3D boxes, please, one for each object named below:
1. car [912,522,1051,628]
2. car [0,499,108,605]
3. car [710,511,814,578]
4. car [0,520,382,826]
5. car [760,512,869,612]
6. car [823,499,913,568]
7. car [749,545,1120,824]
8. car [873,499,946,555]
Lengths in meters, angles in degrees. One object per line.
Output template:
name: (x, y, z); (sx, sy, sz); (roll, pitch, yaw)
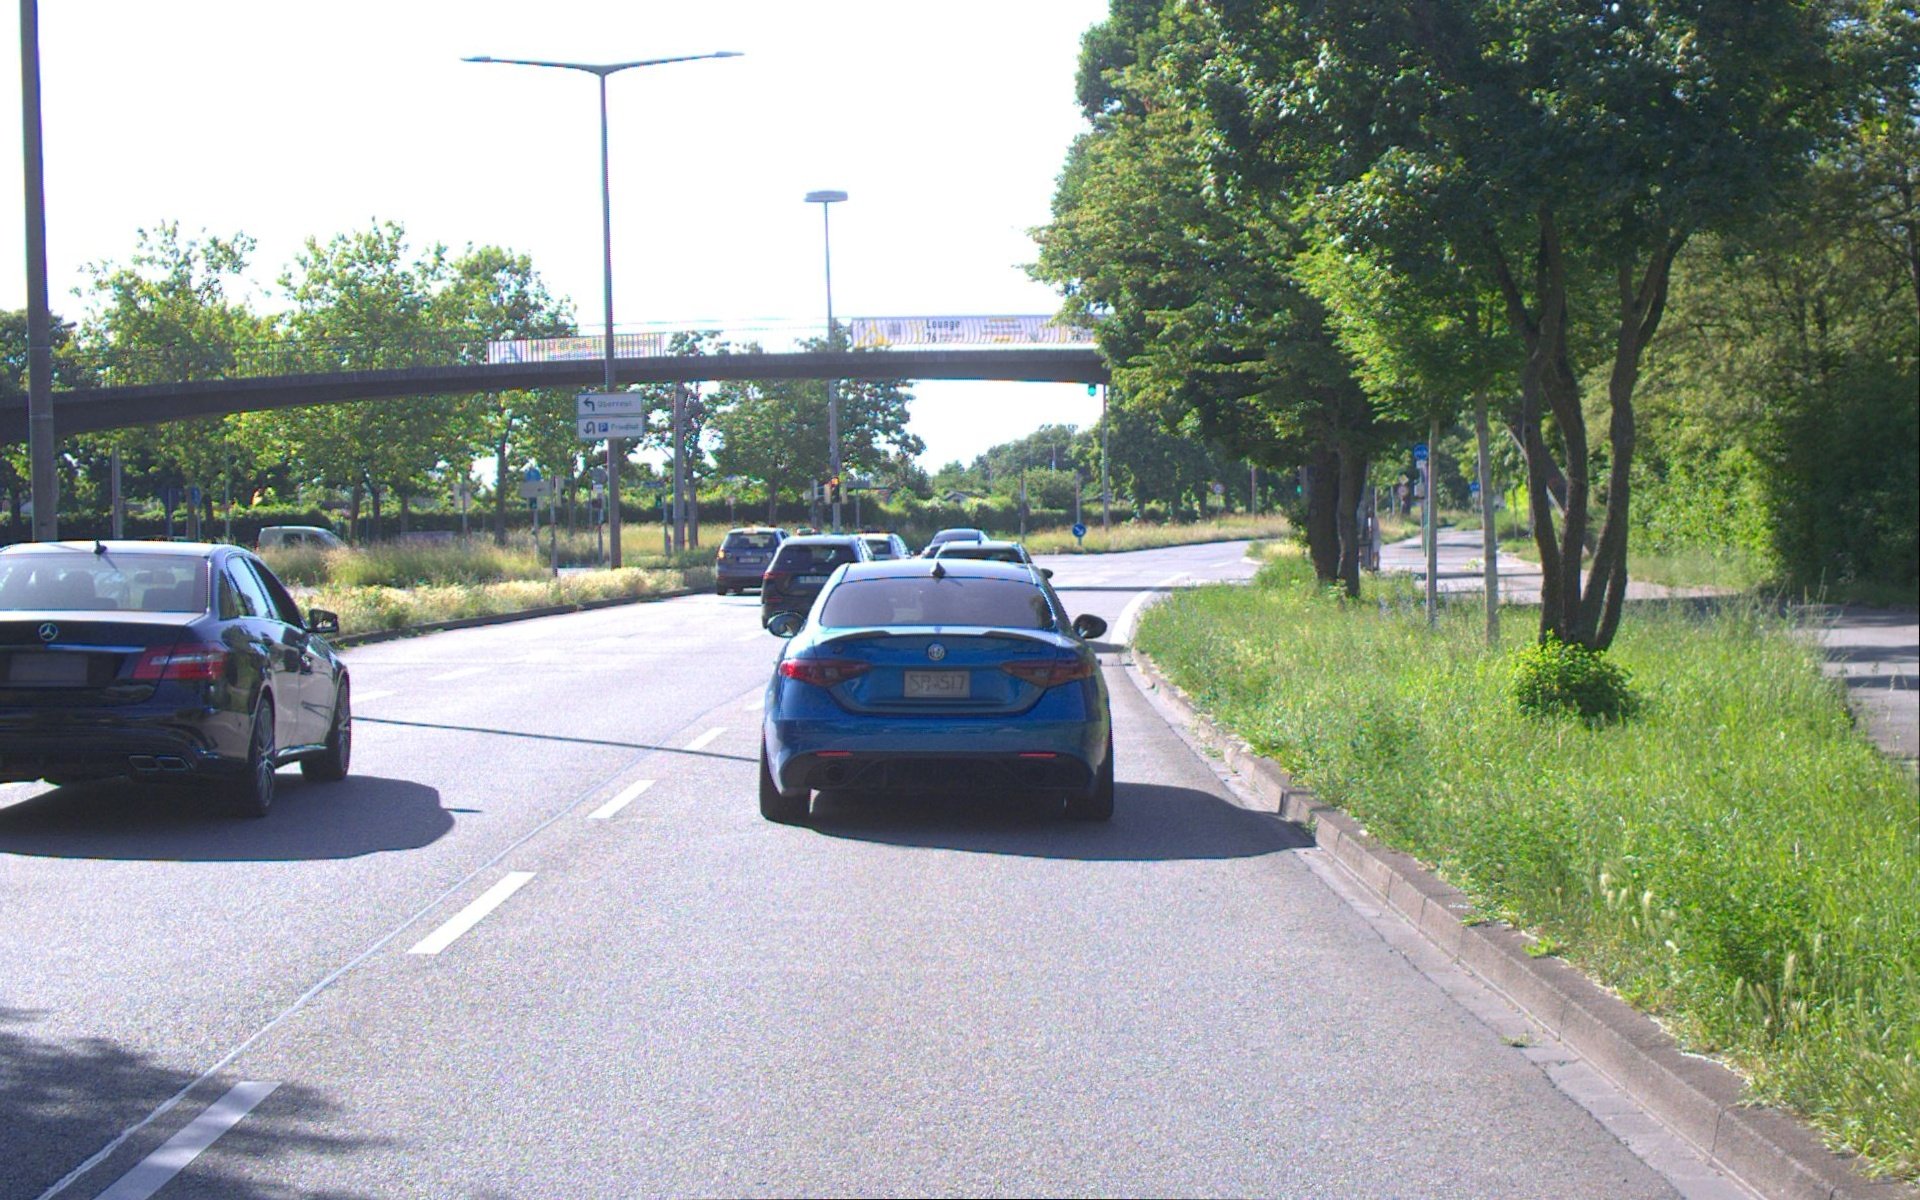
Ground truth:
car: (0.259, -0.384, 49.415); (1.883, 1.449, 4.527); (0, 1, -1)
car: (-18.177, -0.956, 67.623); (1.993, 2.007, 4.583); (0, 1, -4)
car: (-4.702, -1.323, 82.163); (1.797, 1.550, 3.729); (0, 1, 8)
car: (-4.650, 0.311, 19.325); (1.959, 1.478, 4.919); (-1, 1, 0)
car: (-2.436, -0.644, 56.788); (1.707, 1.592, 4.225); (0, 1, -4)
car: (-1.959, -1.435, 74.273); (1.883, 1.449, 4.527); (0, 1, -1)
car: (-0.163, 0.395, 19.612); (1.883, 1.401, 4.224); (0, 1, -1)
car: (-1.340, -1.945, 91.524); (1.883, 1.449, 4.527); (0, 1, -1)
